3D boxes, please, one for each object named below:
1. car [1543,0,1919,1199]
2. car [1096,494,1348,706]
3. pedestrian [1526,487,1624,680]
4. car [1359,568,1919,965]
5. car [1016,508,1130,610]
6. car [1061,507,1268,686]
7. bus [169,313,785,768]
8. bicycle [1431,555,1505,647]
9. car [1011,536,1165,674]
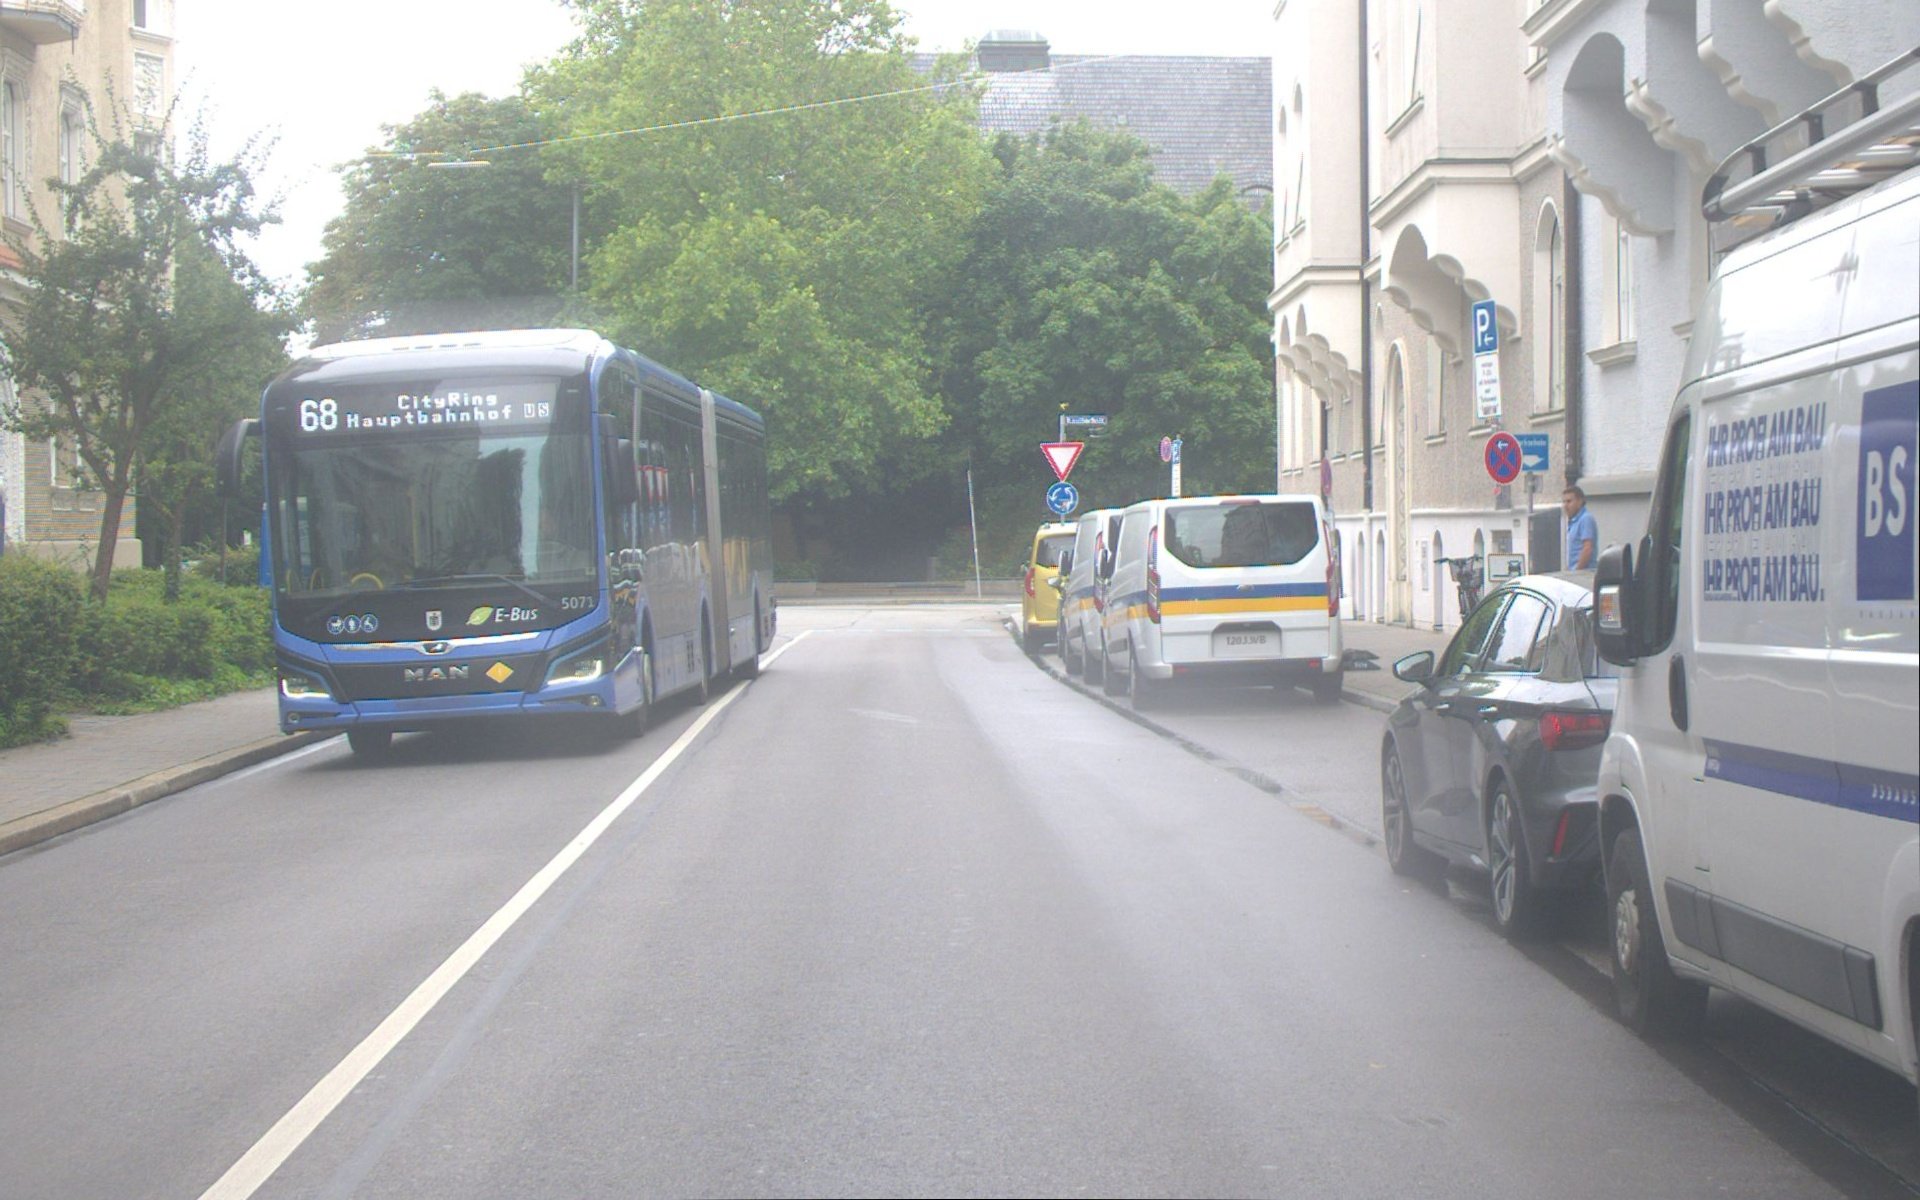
[{"bbox_3d":[3.045,0.002,8.866,2.077,2.679,5.445,-2,1,0],"label":"car"},{"bbox_3d":[2.479,-0.037,33.701,1.993,1.911,4.878,-1,1,-1],"label":"car"},{"bbox_3d":[6.130,-0.166,34.313,0.852,1.896,0.746,-1,1,2],"label":"pedestrian"},{"bbox_3d":[2.888,0.586,14.653,1.788,1.403,4.245,-1,1,-1],"label":"car"},{"bbox_3d":[2.235,-0.846,69.380,1.938,1.915,5.375,-2,1,-1],"label":"car"},{"bbox_3d":[2.288,-0.076,39.706,1.993,1.911,4.886,-1,1,-1],"label":"car"},{"bbox_3d":[-3.984,-0.569,34.109,3.171,3.201,18.058,-2,1,1],"label":"bus"},{"bbox_3d":[6.391,0.001,43.310,0.666,1.129,1.722,-1,1,0],"label":"bicycle"},{"bbox_3d":[1.839,0.038,50.794,1.993,1.911,4.571,-1,1,-1],"label":"car"}]
